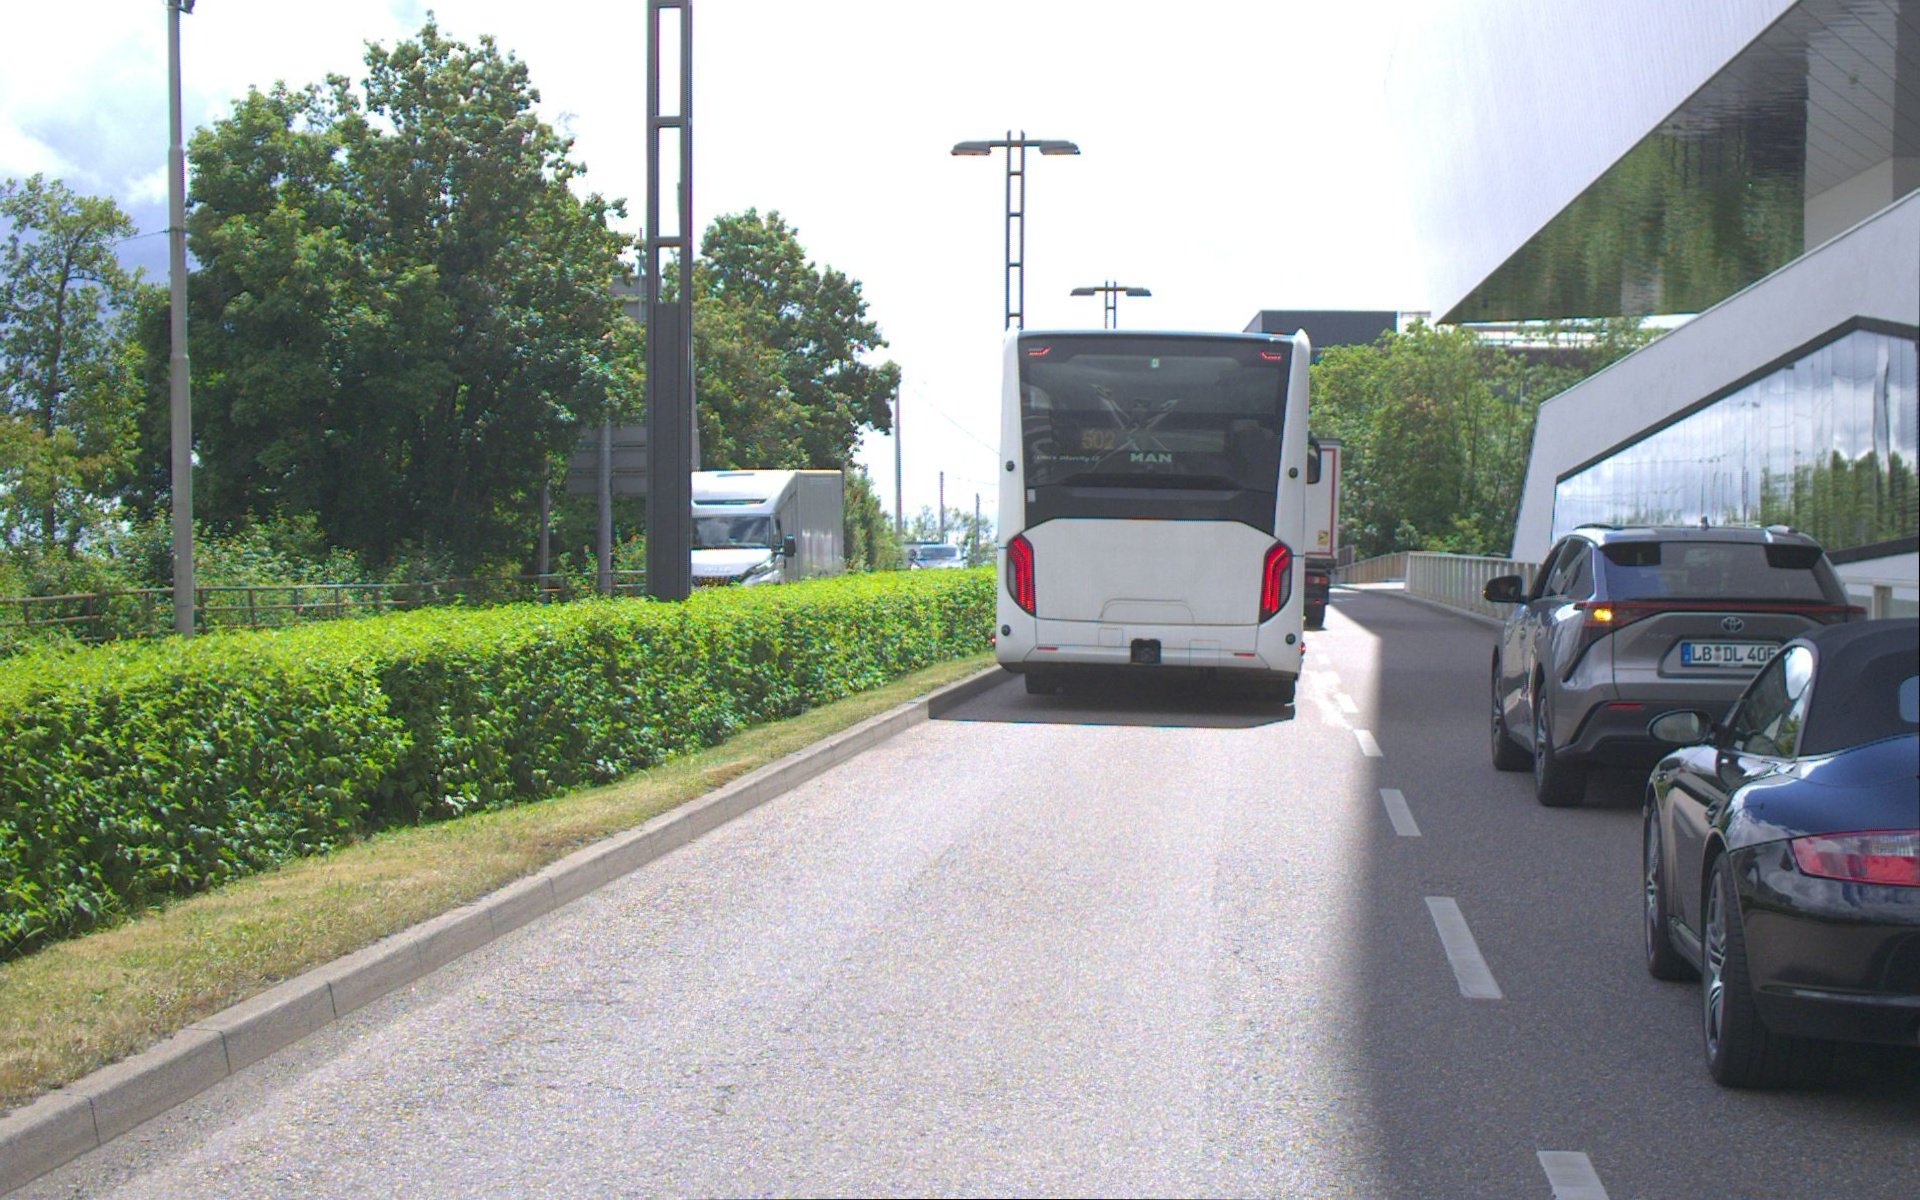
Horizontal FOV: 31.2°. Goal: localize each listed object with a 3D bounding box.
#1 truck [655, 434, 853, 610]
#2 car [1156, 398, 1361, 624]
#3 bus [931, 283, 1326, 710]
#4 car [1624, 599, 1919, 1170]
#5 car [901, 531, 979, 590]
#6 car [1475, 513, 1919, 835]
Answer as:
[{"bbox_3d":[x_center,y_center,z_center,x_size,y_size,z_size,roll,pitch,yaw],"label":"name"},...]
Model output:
[{"bbox_3d":[-3.975,-1.441,68.386,2.196,2.951,8.948,2,-2,7],"label":"truck"},{"bbox_3d":[5.355,-1.470,62.684,3.336,3.492,9.339,2,-2,4],"label":"car"},{"bbox_3d":[1.860,-0.970,33.794,3.072,3.350,12.221,2,1,5],"label":"bus"},{"bbox_3d":[3.101,0.700,10.338,1.834,1.321,3.999,0,1,6],"label":"car"},{"bbox_3d":[-0.642,-1.276,113.249,1.994,1.707,3.998,2,-2,7],"label":"car"},{"bbox_3d":[4.255,0.342,20.216,1.994,1.631,4.000,2,2,3],"label":"car"}]
